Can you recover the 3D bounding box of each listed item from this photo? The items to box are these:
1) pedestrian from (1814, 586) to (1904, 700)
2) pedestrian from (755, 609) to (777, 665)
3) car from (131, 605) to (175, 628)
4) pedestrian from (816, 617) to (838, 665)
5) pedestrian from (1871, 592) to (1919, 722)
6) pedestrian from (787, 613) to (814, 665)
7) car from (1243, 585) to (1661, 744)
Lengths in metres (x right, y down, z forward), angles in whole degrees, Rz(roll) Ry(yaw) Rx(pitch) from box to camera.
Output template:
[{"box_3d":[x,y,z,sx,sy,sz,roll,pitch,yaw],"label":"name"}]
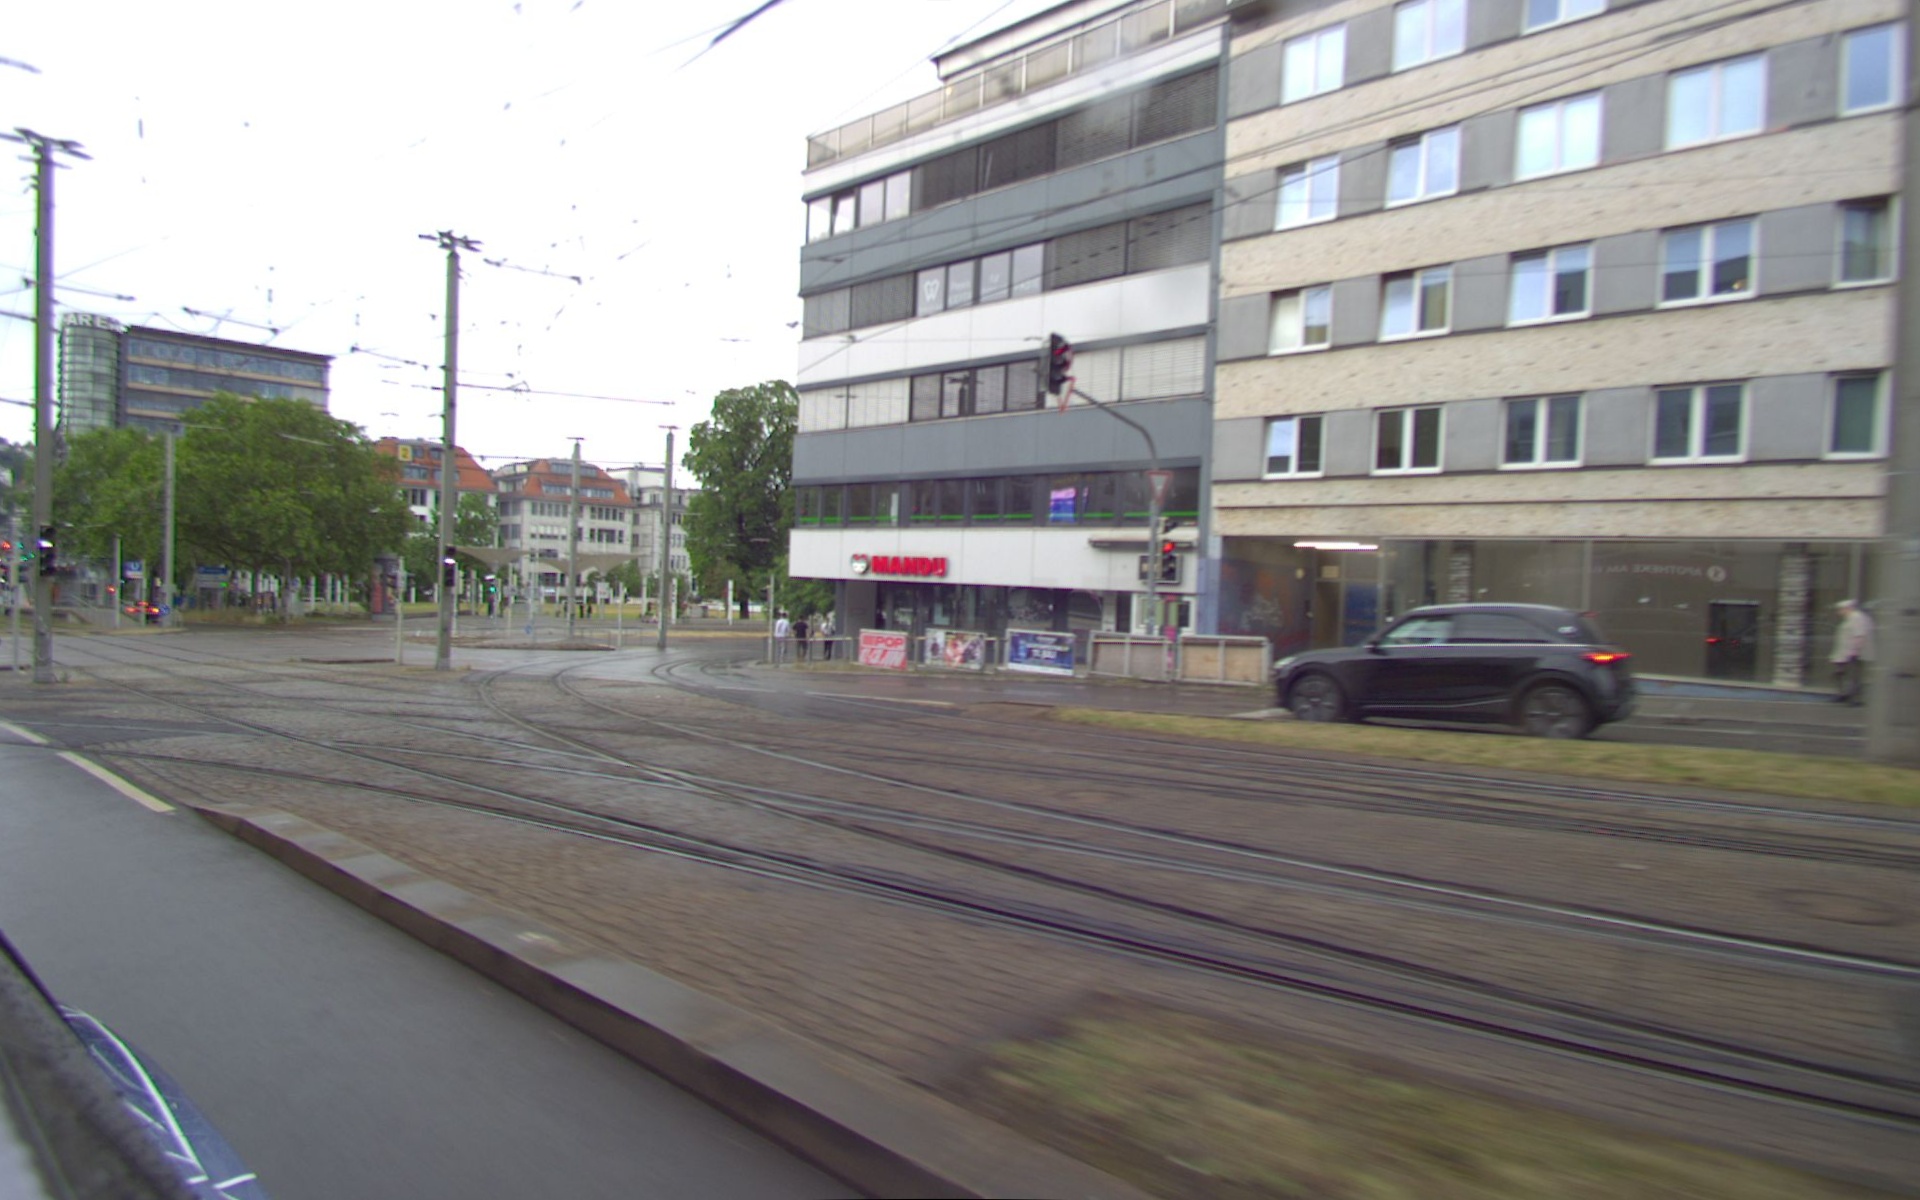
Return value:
[{"box_3d":[13.859,0.644,15.634,0.998,1.694,0.672,-1,-1,40],"label":"pedestrian"},{"box_3d":[-6.893,1.310,36.011,0.687,1.928,0.720,1,0,-7],"label":"pedestrian"},{"box_3d":[-56.411,1.131,70.696,2.073,1.517,4.737,1,0,-43],"label":"car"},{"box_3d":[-5.034,1.530,38.323,0.688,1.775,0.719,1,0,0],"label":"pedestrian"},{"box_3d":[12.837,0.742,13.471,0.998,1.694,0.878,-1,-1,40],"label":"pedestrian"},{"box_3d":[-6.004,1.466,38.164,0.697,1.928,0.709,1,0,40],"label":"pedestrian"},{"box_3d":[6.164,0.723,12.919,4.519,1.686,1.975,-1,-1,37],"label":"car"}]
